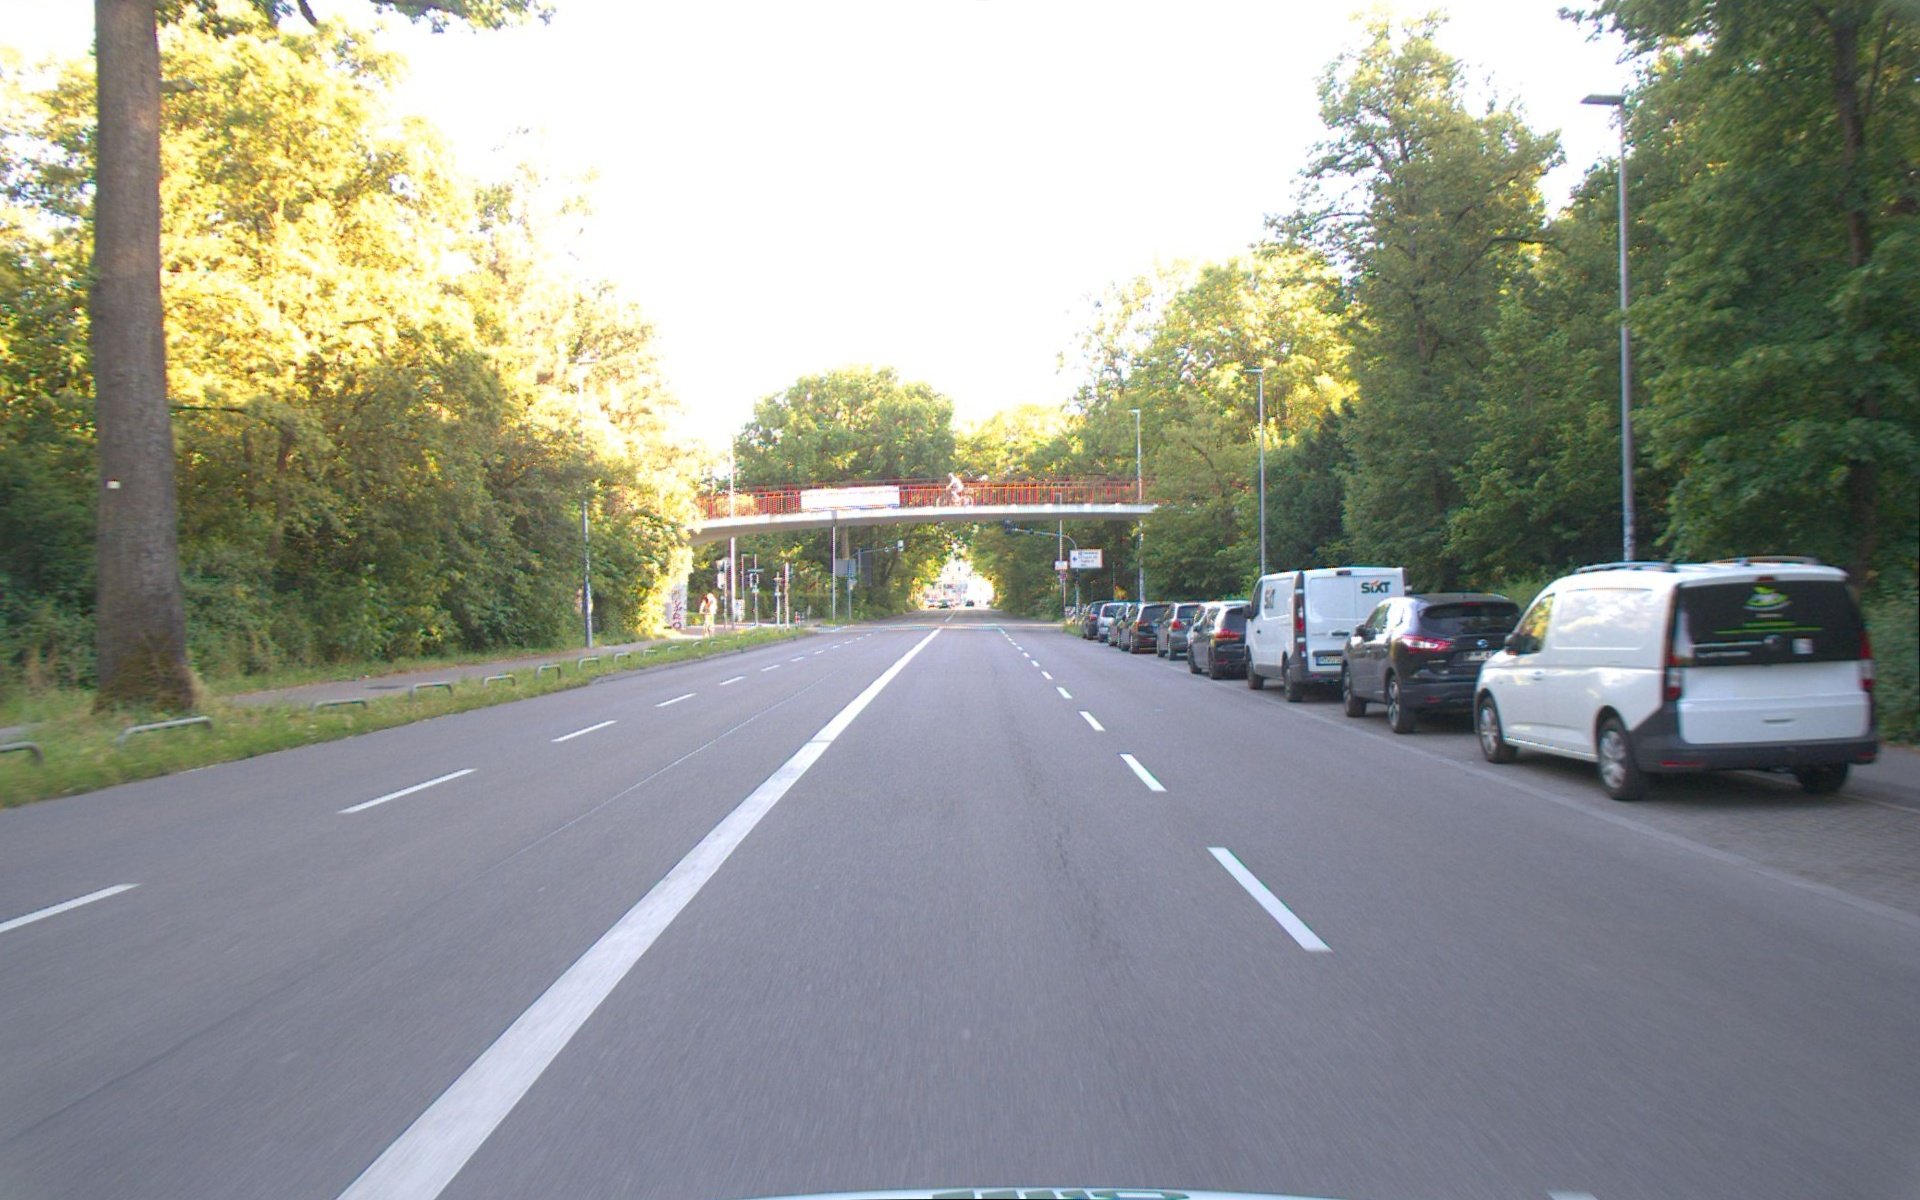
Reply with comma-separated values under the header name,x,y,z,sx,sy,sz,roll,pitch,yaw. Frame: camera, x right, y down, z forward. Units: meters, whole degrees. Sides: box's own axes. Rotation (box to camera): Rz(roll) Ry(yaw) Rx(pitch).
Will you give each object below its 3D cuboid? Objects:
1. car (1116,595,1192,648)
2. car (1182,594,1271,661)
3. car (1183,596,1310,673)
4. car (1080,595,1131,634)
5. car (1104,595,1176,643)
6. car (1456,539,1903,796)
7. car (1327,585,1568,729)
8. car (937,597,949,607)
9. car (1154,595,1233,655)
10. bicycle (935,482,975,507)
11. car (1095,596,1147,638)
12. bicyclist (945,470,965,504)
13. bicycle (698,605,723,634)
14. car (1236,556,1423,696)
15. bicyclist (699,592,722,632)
name,x,y,z,sx,sy,sz,roll,pitch,yaw
car,5.787,0.634,49.860,1.604,1.479,4.896,-1,0,-1
car,6.203,0.619,38.843,1.553,1.479,3.799,-1,0,1
car,5.753,0.659,33.672,1.830,1.431,4.369,-1,0,0
car,5.873,0.589,67.196,1.738,1.479,4.388,-1,0,1
car,5.976,0.611,55.295,1.738,1.479,5.036,-1,0,-1
car,5.960,0.500,14.430,1.723,1.836,4.736,-1,0,-1
car,5.955,0.648,20.756,1.723,1.574,4.429,-1,0,0
car,-2.613,0.363,253.889,1.849,1.533,4.363,-1,0,-1
car,6.089,0.626,43.496,1.553,1.479,3.943,-1,0,1
bicycle,-0.259,-5.210,81.634,1.947,1.167,0.714,1,-1,-2
car,6.083,0.628,62.785,1.737,1.479,4.015,-1,0,3
bicyclist,-0.235,-5.556,81.639,0.950,1.614,0.714,1,-1,-2
bicycle,-10.129,0.798,67.138,0.697,1.167,1.993,1,-1,0
car,5.895,0.391,27.083,1.830,2.016,5.475,-1,0,0
bicyclist,-10.125,0.487,67.142,0.697,1.586,1.142,1,-1,0
